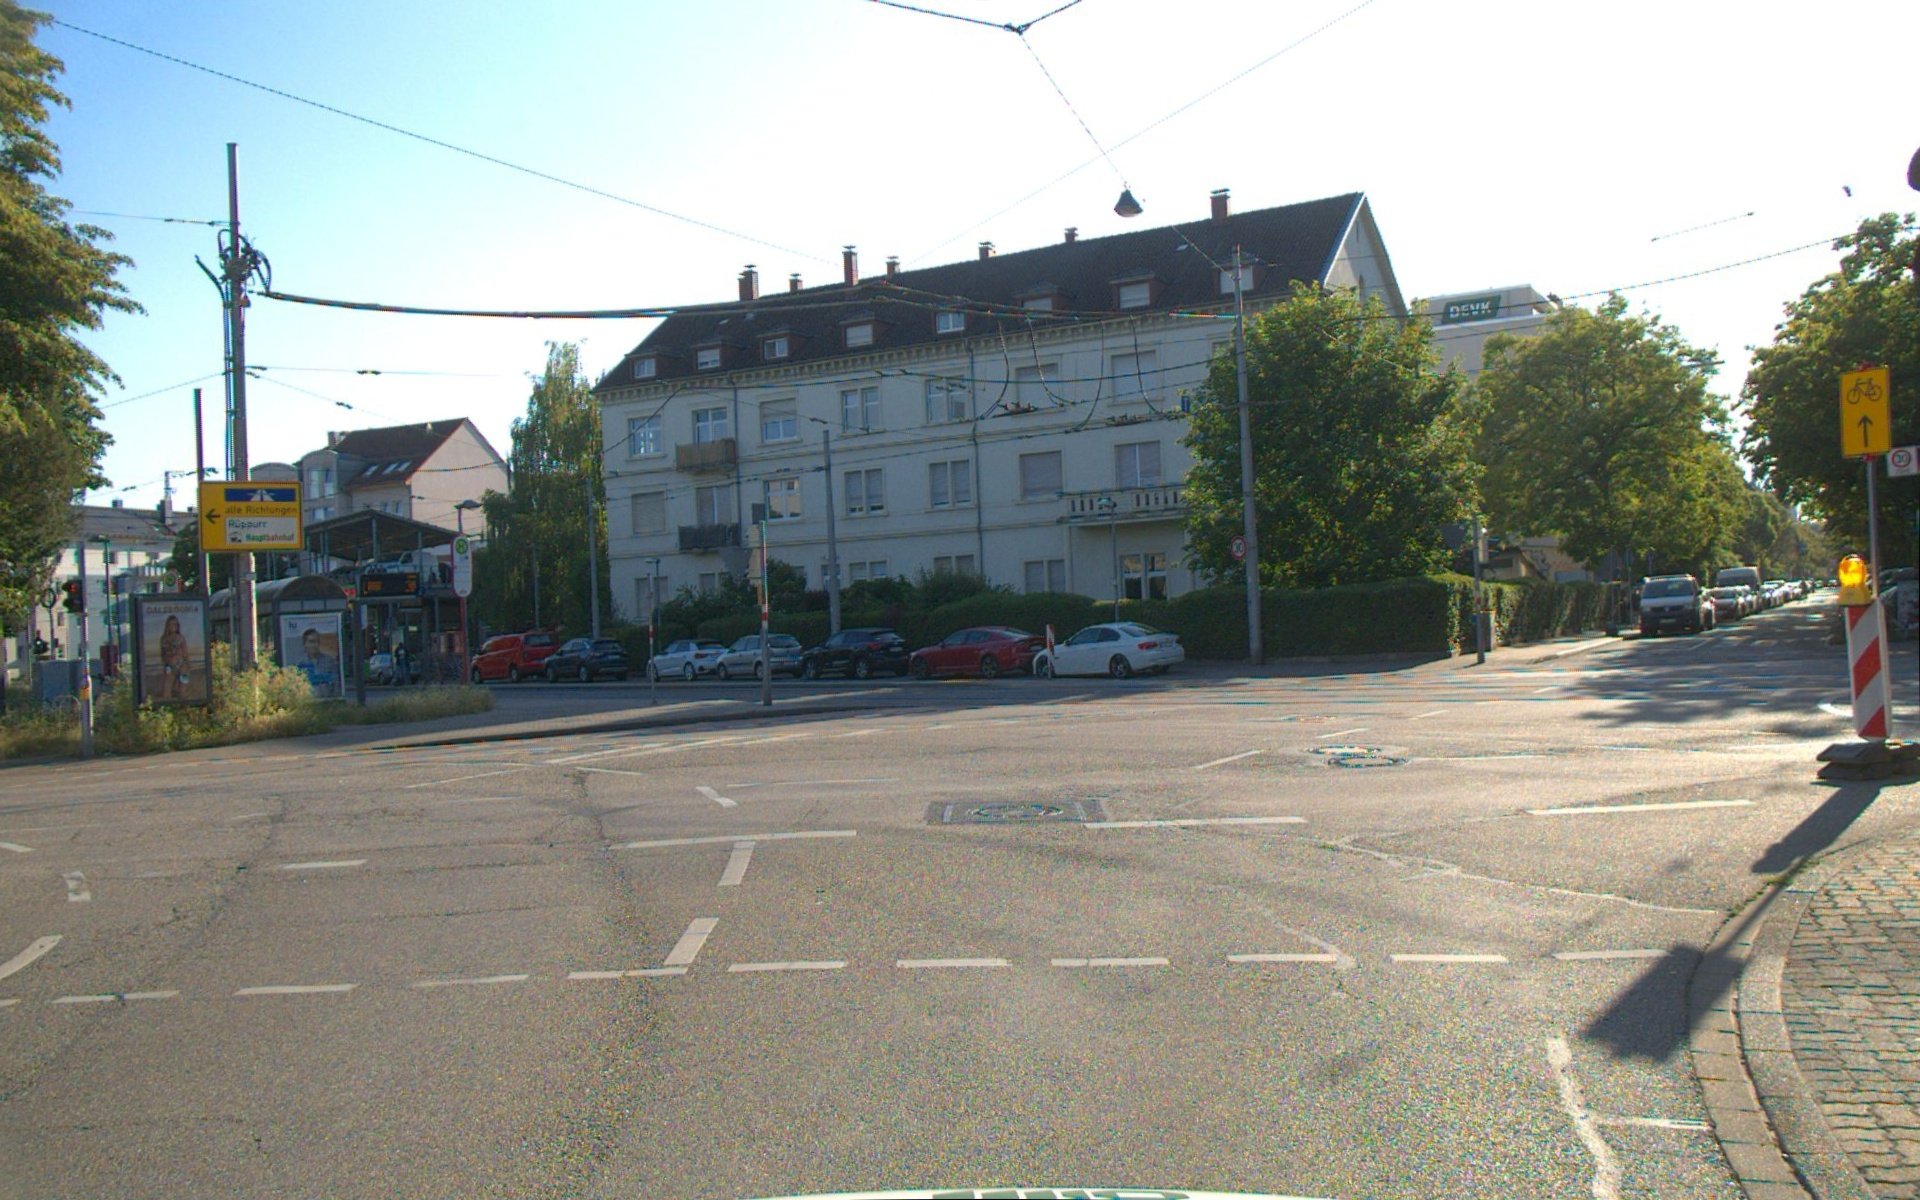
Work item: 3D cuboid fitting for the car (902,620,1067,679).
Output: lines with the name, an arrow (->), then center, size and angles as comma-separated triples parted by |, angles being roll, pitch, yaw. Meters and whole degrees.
car -> 0.658, 1.444, 47.711 | 4.624, 1.400, 1.975 | -4, 1, 44

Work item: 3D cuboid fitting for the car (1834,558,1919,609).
car -> 40.437, -0.719, 70.973 | 4.990, 1.958, 2.360 | -3, -3, 26

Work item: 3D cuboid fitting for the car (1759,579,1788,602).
car -> 63.342, -0.739, 128.748 | 1.955, 1.718, 3.995 | 1, -1, 27

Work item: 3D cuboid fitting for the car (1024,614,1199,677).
car -> 3.966, 1.222, 43.791 | 1.916, 1.400, 4.425 | -5, 1, -43

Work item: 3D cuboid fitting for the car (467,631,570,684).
car -> -18.546, 2.438, 69.409 | 2.040, 1.995, 5.072 | -5, 1, -41

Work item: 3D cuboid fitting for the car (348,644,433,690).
car -> -27.638, 3.271, 80.179 | 2.040, 1.995, 5.072 | -5, 1, -41

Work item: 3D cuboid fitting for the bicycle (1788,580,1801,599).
bicycle -> 62.159, -0.809, 123.147 | 0.751, 1.347, 1.921 | -3, -1, 28

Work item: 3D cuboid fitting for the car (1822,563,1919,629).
car -> 31.061, -0.176, 53.461 | 5.509, 1.958, 2.360 | -3, -3, 26

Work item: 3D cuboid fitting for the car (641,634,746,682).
car -> -9.496, 2.070, 58.731 | 1.830, 1.472, 3.898 | -5, 1, -41

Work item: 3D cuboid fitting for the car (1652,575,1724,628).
car -> 28.009, 0.053, 63.530 | 2.308, 1.826, 5.305 | -3, -1, 25

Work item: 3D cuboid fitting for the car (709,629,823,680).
car -> -6.512, 1.844, 55.306 | 1.971, 1.472, 3.662 | -5, 1, -41

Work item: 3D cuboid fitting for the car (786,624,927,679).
car -> -3.313, 1.635, 52.132 | 1.971, 1.472, 4.634 | -5, 1, -41

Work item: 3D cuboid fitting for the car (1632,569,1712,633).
car -> 25.039, 0.018, 58.087 | 2.308, 2.049, 5.305 | -3, -1, 25

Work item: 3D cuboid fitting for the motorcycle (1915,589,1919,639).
motorcycle -> 22.742, 0.268, 37.328 | 1.912, 1.129, 0.837 | -3, -1, 23

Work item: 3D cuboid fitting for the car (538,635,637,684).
car -> -14.547, 2.339, 64.454 | 1.830, 1.696, 4.304 | -5, 1, -41

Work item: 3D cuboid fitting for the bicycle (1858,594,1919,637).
bicycle -> 22.568, 0.366, 39.715 | 1.690, 0.949, 0.671 | -3, -1, 28

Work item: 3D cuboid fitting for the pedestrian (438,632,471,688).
pedestrian -> -19.134, 2.260, 62.639 | 0.914, 2.049, 0.759 | -2, -2, -37

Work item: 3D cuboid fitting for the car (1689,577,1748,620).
car -> 35.228, -0.076, 76.786 | 2.308, 1.826, 5.305 | -3, -1, 25

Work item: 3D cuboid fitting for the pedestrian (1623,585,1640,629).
pedestrian -> 27.597, 0.299, 67.930 | 0.567, 1.761, 0.608 | -3, -1, 23

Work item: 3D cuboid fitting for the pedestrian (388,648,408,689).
pedestrian -> -21.569, 2.616, 63.498 | 0.560, 1.527, 0.672 | -2, -1, -29
